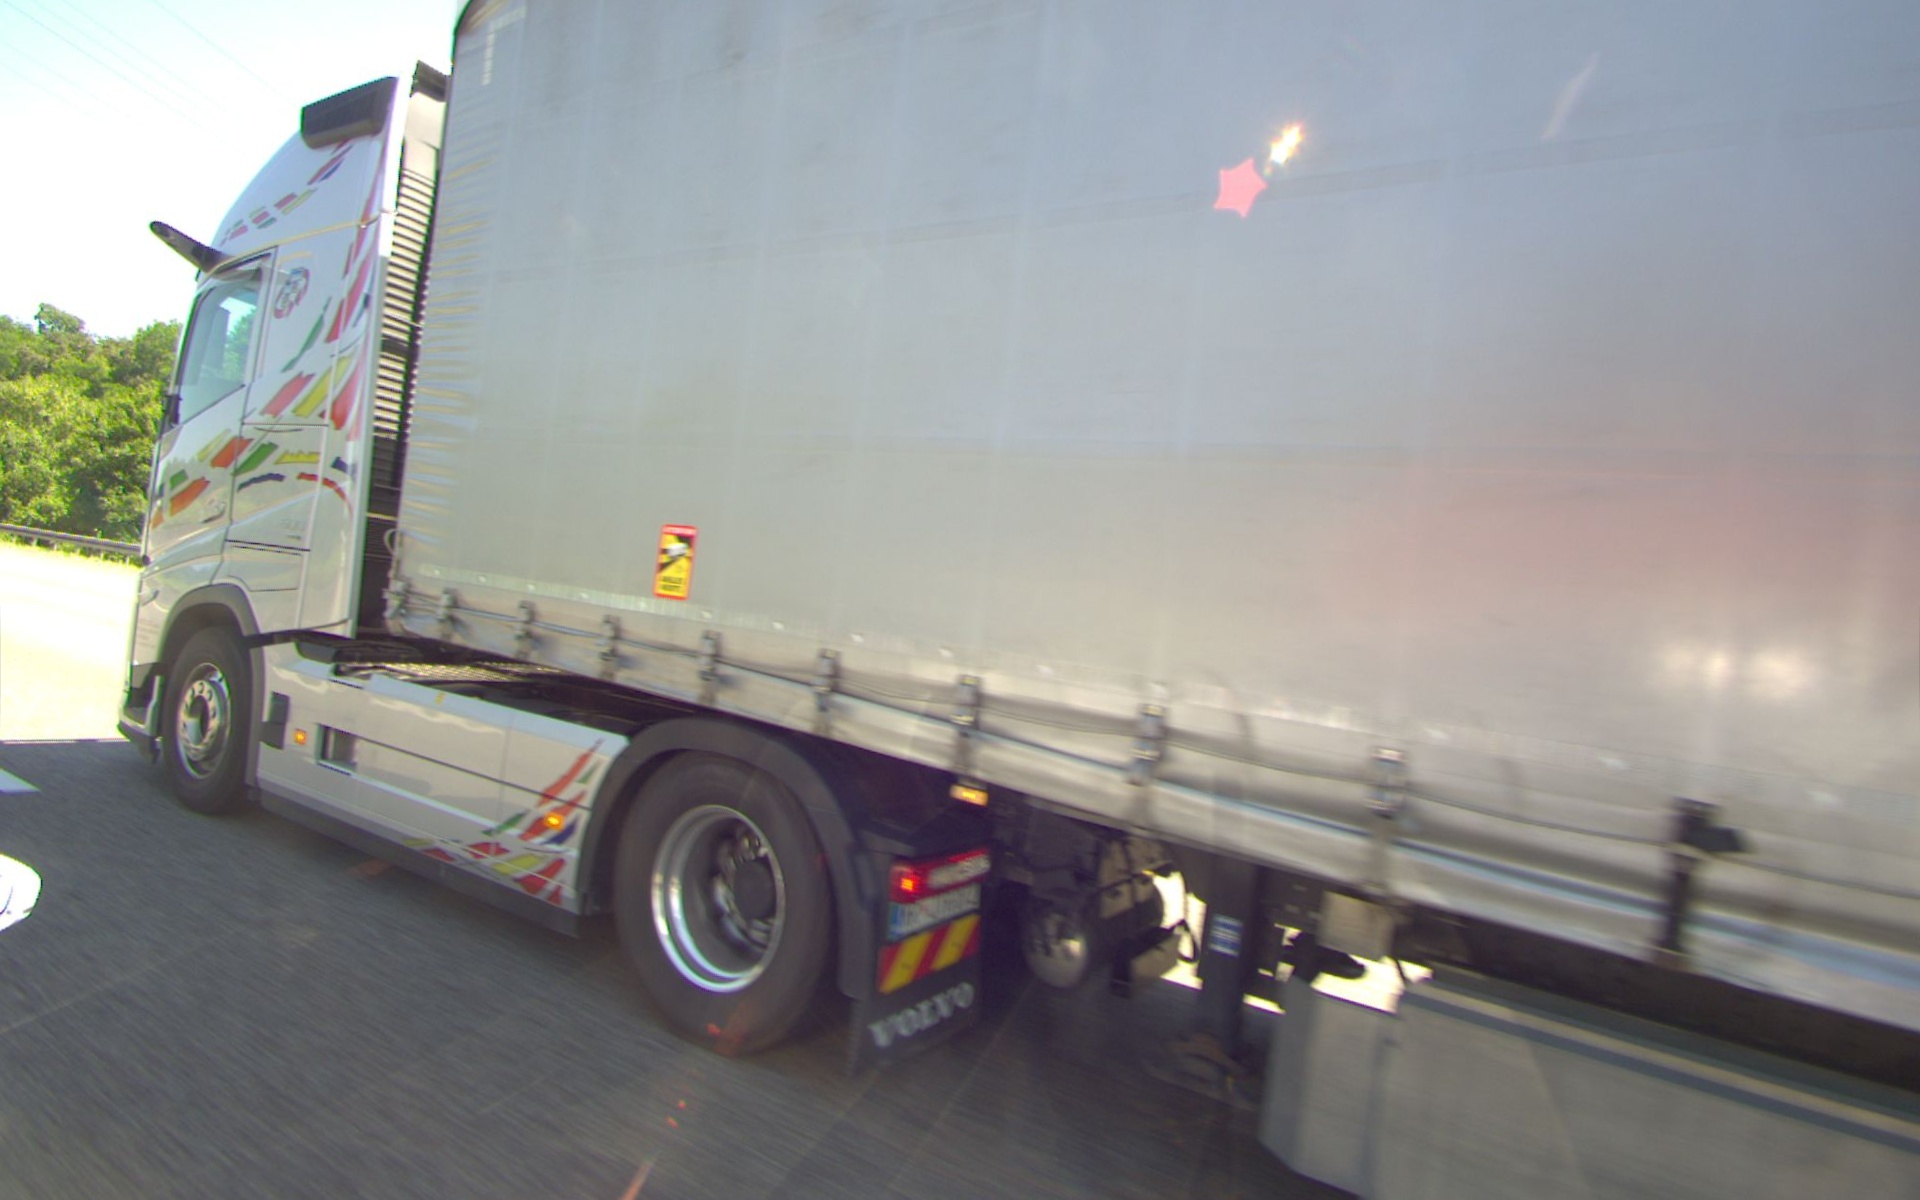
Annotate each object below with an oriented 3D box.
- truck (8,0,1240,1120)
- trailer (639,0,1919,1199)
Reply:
[{"bbox_3d":[-2.189,-0.695,5.704,6.393,4.021,2.728,7,-1,31],"label":"truck"},{"bbox_3d":[5.620,0.187,0.913,13.426,4.021,2.745,6,-1,31],"label":"trailer"}]
